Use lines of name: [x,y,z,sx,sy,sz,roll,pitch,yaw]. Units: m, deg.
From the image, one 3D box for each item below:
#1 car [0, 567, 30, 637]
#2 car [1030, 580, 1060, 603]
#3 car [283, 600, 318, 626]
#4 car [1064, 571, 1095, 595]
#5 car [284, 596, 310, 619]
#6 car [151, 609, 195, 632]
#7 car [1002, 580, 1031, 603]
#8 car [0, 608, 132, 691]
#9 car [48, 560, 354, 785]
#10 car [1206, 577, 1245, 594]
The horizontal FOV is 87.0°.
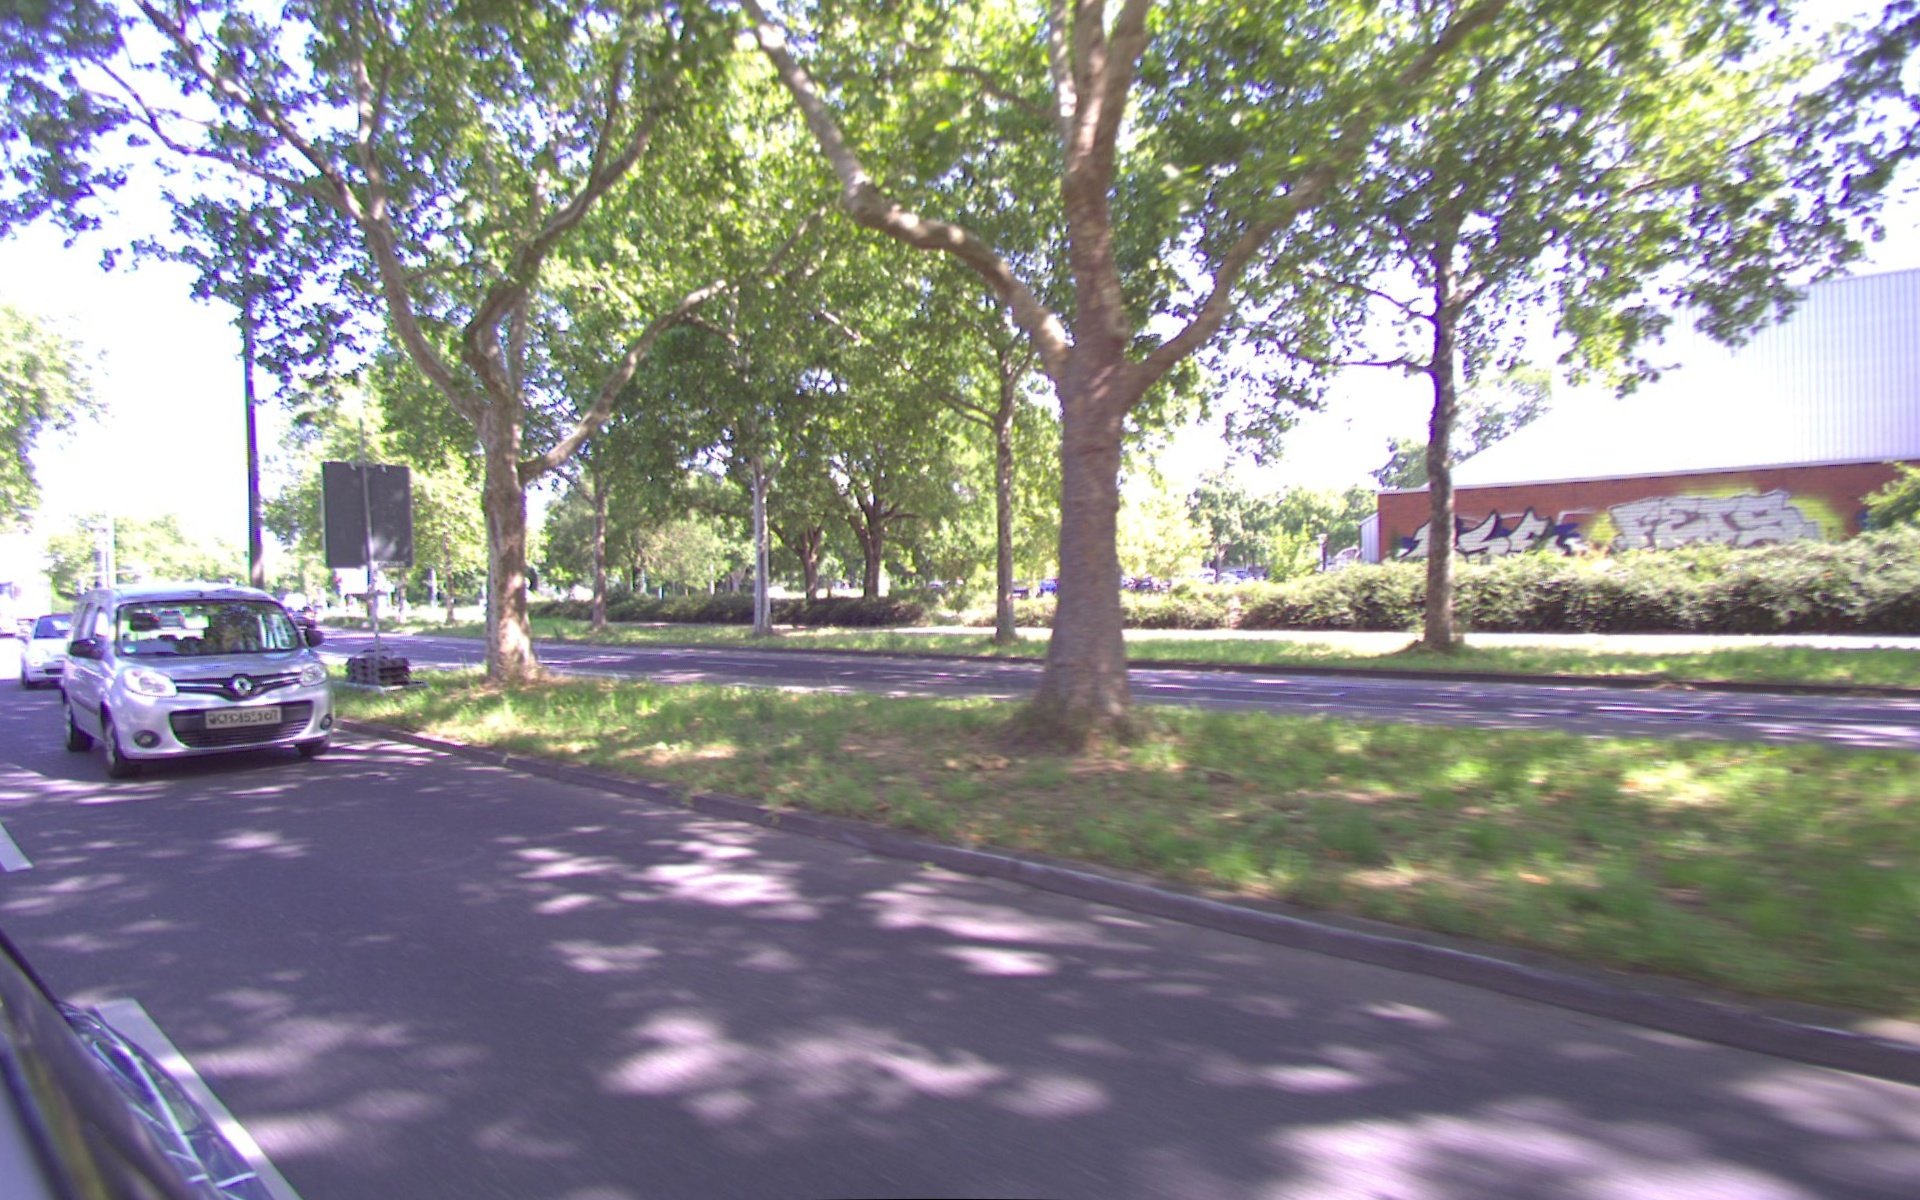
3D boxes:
car: [-56.406,0.180,59.011,2.860,3.950,7.152,-2,0,-41]
car: [7.676,-0.780,92.082,1.789,2.029,4.007,-2,0,-8]
car: [-42.115,0.844,64.618,1.770,1.568,4.407,-1,0,-34]
car: [10.859,-1.529,92.490,1.789,2.029,4.007,-2,0,-8]
car: [-78.335,0.866,119.668,2.032,2.633,7.240,-1,0,-29]
car: [-58.128,1.497,74.798,1.670,1.519,4.143,-2,0,-26]
car: [5.133,-0.752,92.170,1.789,2.029,4.007,-2,0,-8]
car: [-18.899,0.970,21.271,4.374,1.502,1.667,-1,1,42]
car: [-8.036,0.598,10.542,4.376,1.854,1.851,-1,1,44]
car: [24.264,-1.328,92.635,1.788,1.502,4.009,-2,0,-11]
